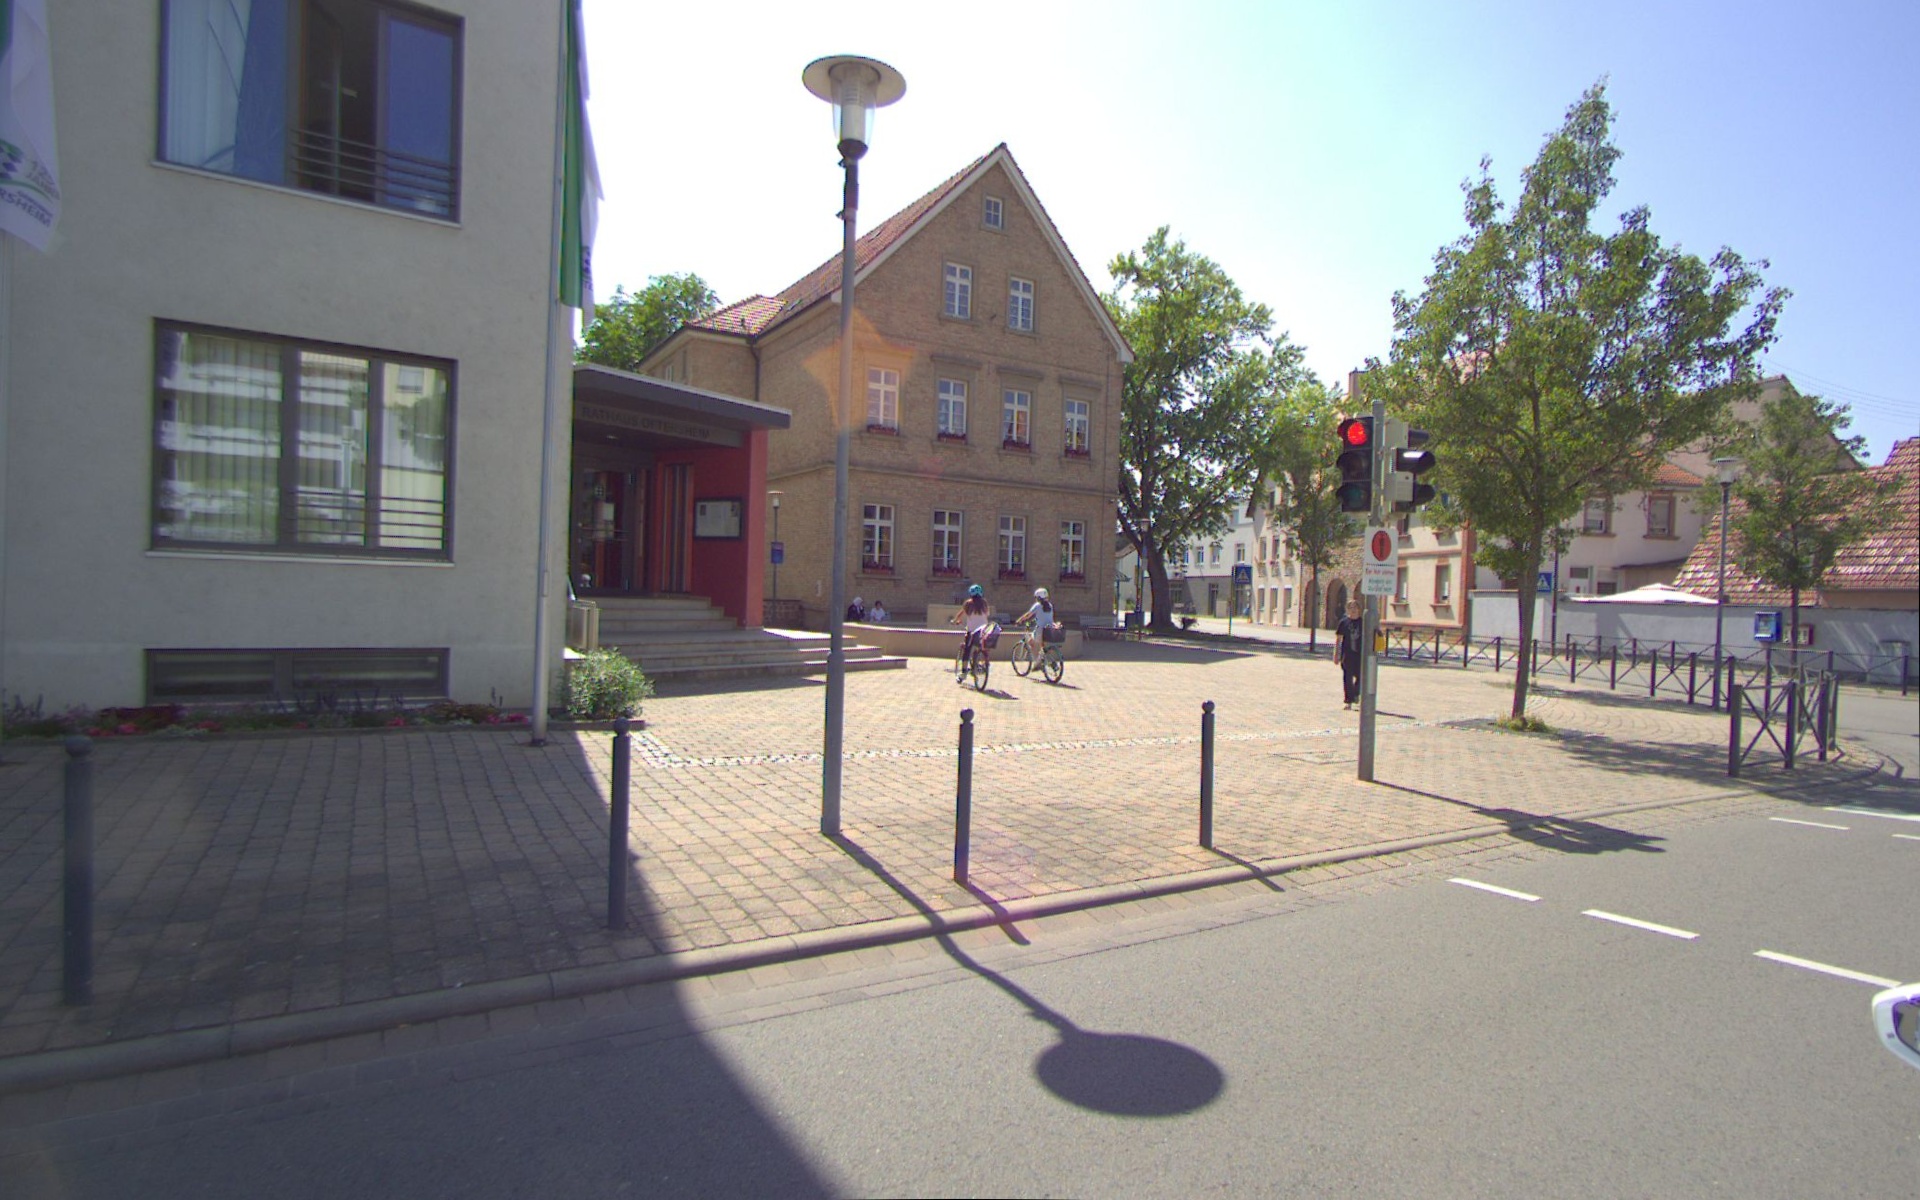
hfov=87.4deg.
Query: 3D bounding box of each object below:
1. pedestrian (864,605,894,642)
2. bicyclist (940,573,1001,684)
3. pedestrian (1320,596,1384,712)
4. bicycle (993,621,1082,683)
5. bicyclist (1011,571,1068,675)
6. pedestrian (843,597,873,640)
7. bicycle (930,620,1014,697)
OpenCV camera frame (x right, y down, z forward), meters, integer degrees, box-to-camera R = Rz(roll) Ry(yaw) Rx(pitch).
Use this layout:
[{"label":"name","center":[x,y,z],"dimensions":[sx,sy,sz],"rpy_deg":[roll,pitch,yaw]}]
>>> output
[{"label":"pedestrian","center":[-2.322,0.667,28.802],"dimensions":[0.611,1.041,0.636],"rpy_deg":[2,0,-29]},{"label":"bicyclist","center":[0.149,0.412,15.017],"dimensions":[0.660,1.603,0.759],"rpy_deg":[2,0,-17]},{"label":"pedestrian","center":[5.981,0.805,15.362],"dimensions":[0.798,1.676,0.851],"rpy_deg":[3,1,19]},{"label":"bicycle","center":[1.281,0.853,16.972],"dimensions":[0.667,0.970,1.884],"rpy_deg":[1,-1,-25]},{"label":"bicyclist","center":[1.335,0.389,16.889],"dimensions":[0.662,1.686,0.757],"rpy_deg":[1,-1,-26]},{"label":"pedestrian","center":[-2.897,0.527,28.440],"dimensions":[0.611,1.186,0.636],"rpy_deg":[2,0,-29]},{"label":"bicycle","center":[0.150,0.843,14.979],"dimensions":[0.665,0.970,1.888],"rpy_deg":[3,1,-17]}]
